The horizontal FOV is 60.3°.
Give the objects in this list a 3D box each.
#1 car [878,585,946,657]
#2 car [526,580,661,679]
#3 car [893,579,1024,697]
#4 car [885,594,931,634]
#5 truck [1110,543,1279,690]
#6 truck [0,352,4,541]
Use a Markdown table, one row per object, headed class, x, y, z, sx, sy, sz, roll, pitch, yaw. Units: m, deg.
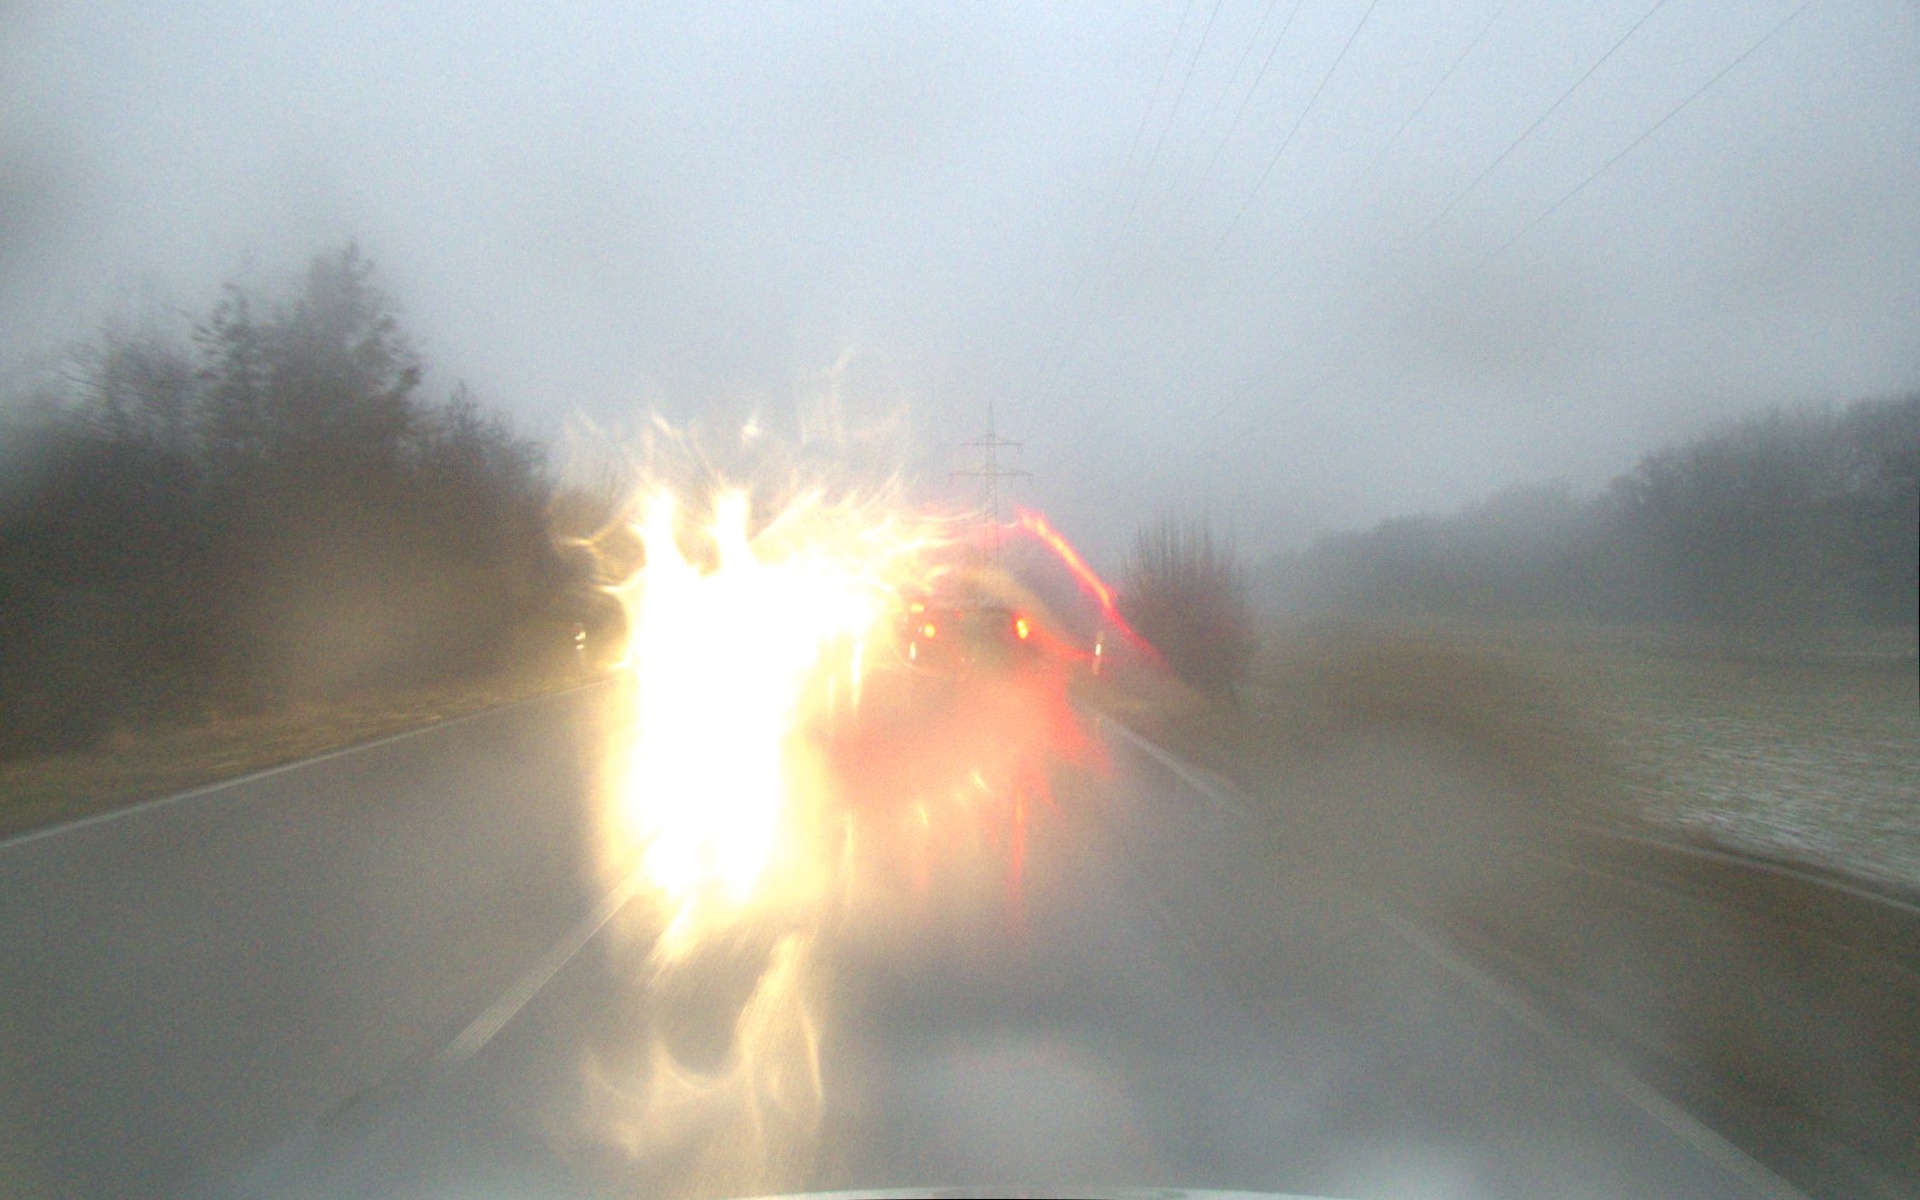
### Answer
| class | x | y | z | sx | sy | sz | roll | pitch | yaw |
| --- | --- | --- | --- | --- | --- | --- | --- | --- | --- |
| car | -1.482 | 0.606 | 49.690 | 1.816 | 2.049 | 3.996 | 1 | 0 | -5 |
| car | -6.573 | 0.492 | 30.068 | 1.638 | 1.659 | 3.975 | 1 | 0 | -1 |
| car | -0.075 | 0.473 | 21.875 | 1.471 | 1.423 | 3.196 | 1 | 0 | -5 |
| car | -2.236 | 0.580 | 69.993 | 1.734 | 1.619 | 4.160 | 1 | 0 | -4 |
| truck | 5.221 | 0.356 | 38.270 | 2.483 | 3.030 | 7.854 | 1 | 0 | -2 |
| truck | -28.485 | -2.654 | 23.027 | 7.390 | 7.848 | 40.141 | 1 | 0 | -1 |
